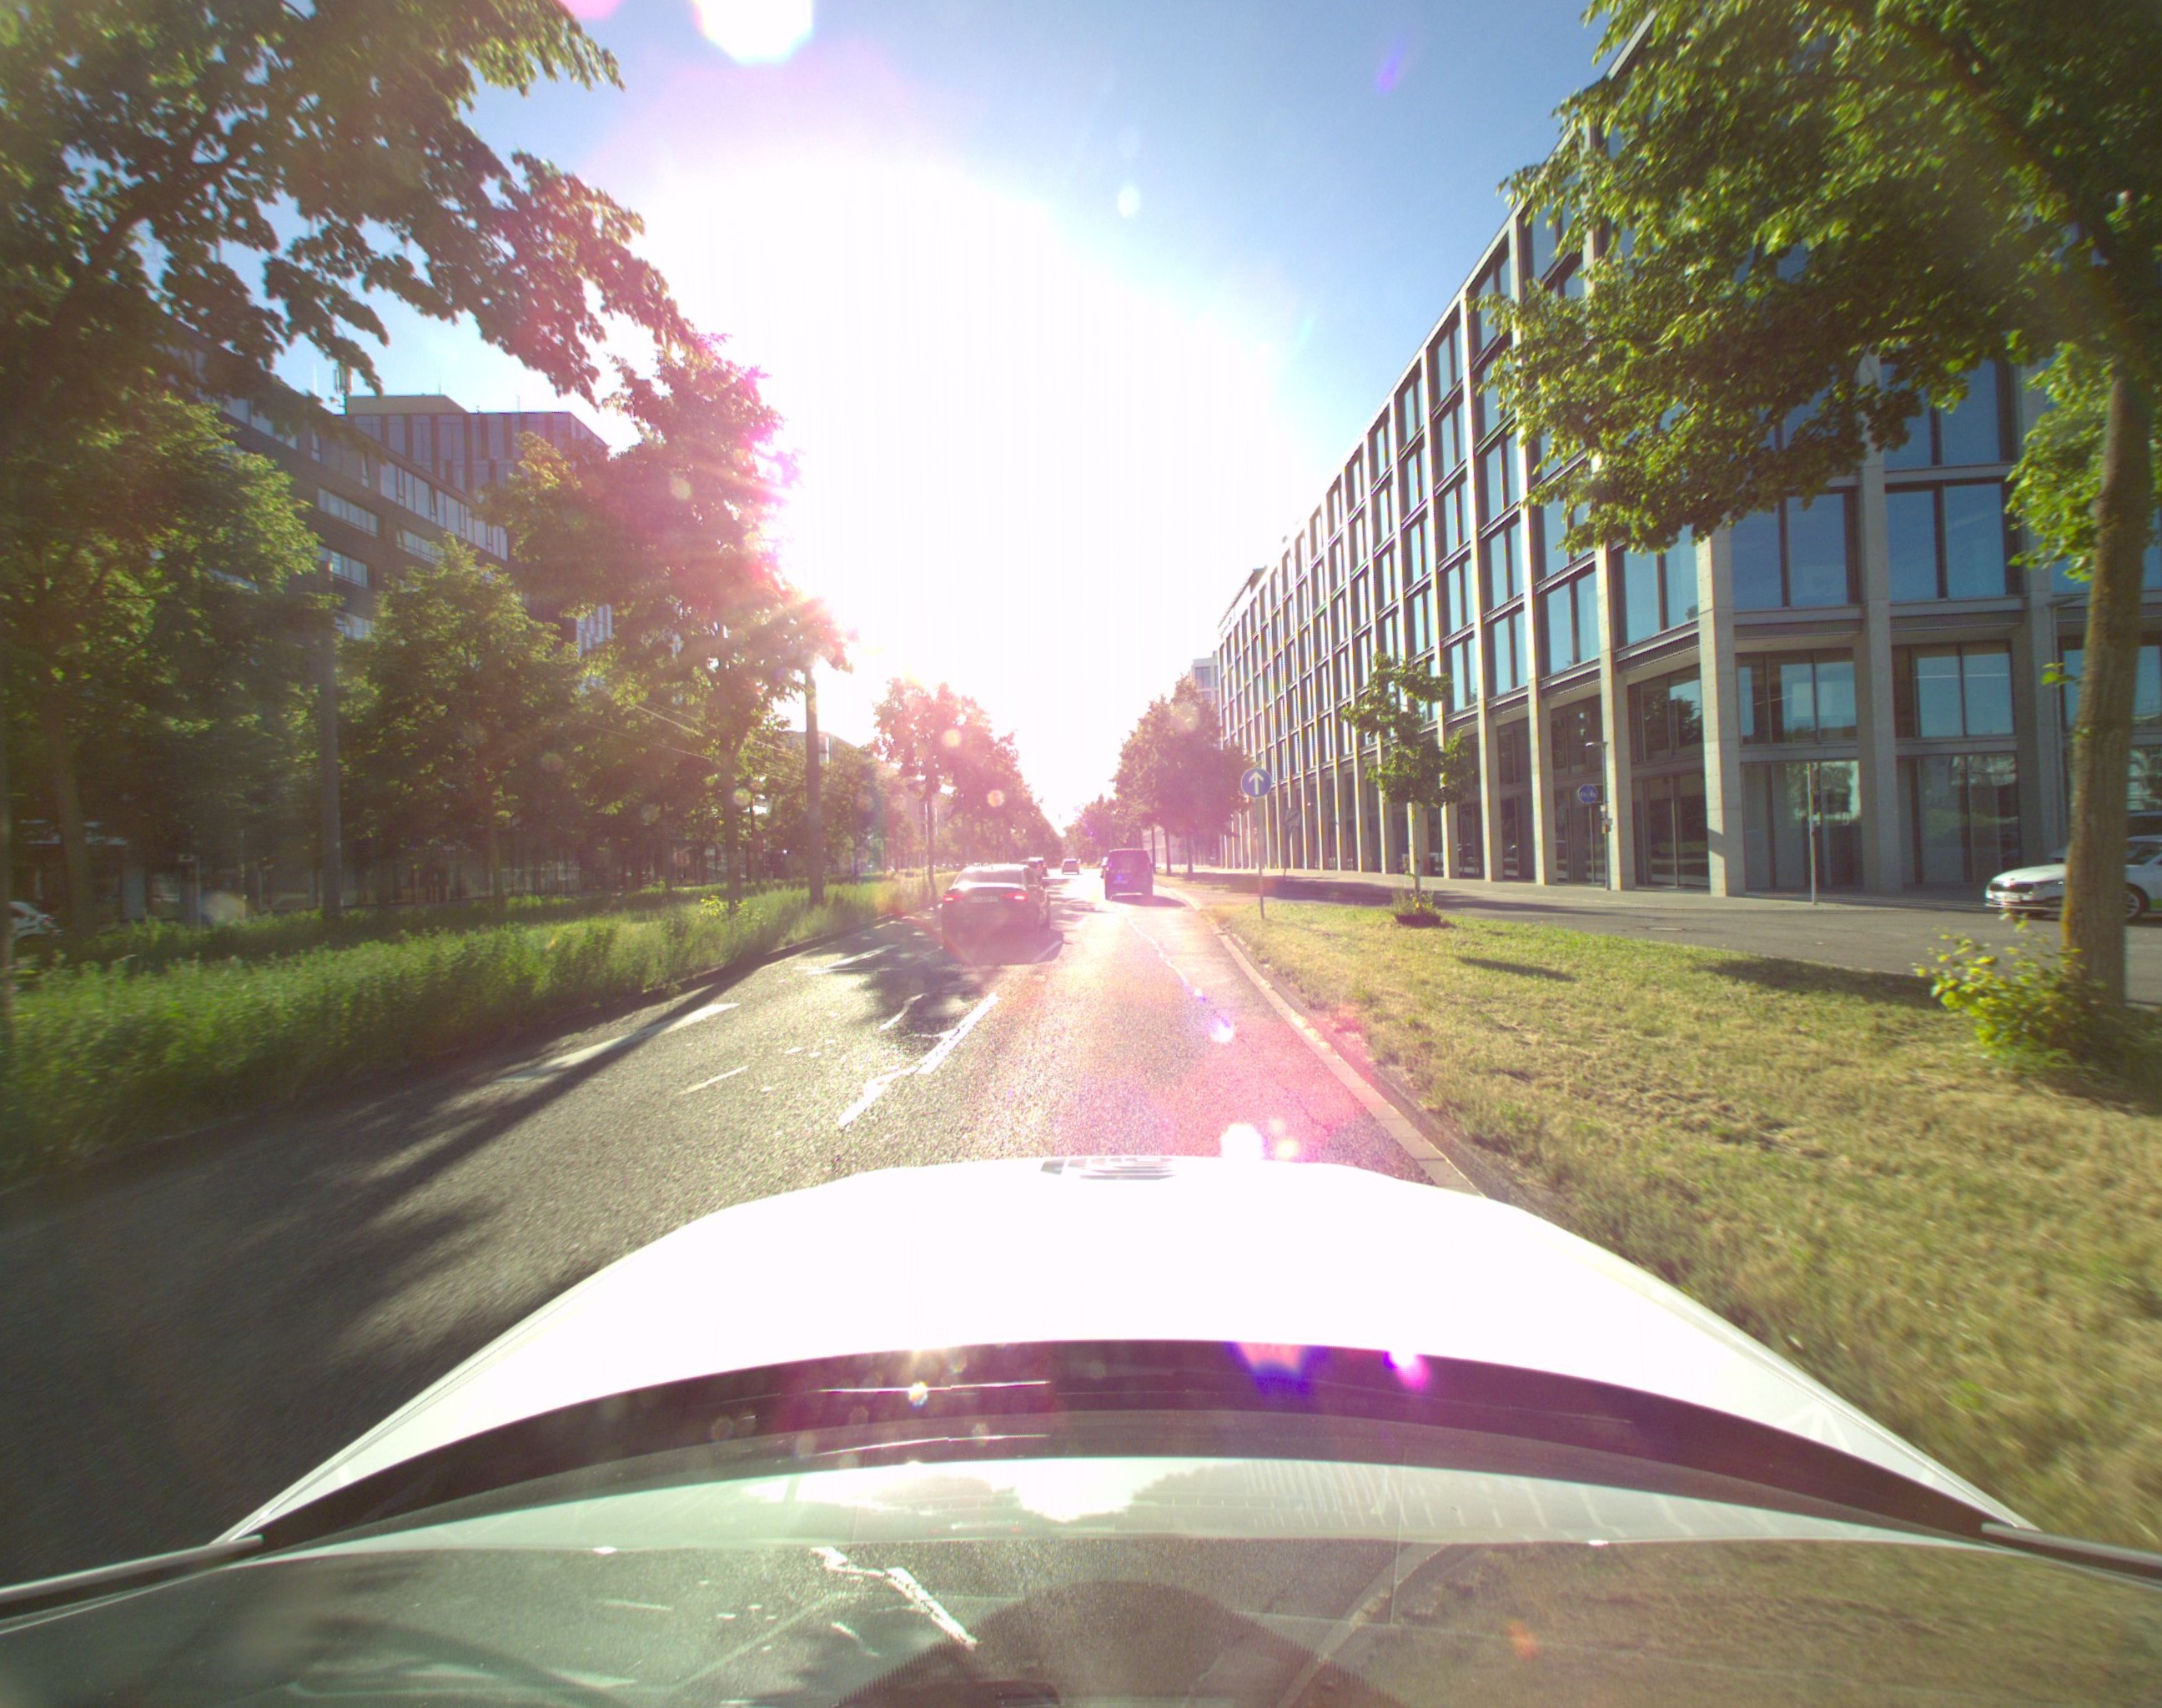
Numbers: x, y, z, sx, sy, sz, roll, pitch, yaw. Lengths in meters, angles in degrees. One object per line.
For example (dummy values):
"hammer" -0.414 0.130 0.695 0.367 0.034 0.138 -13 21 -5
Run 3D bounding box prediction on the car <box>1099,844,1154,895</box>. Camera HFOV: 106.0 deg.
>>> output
"car" 1.647 0.533 30.730 1.792 1.777 3.999 -1 1 -1

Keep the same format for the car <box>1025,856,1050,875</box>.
"car" -3.726 0.975 70.755 1.836 1.534 3.940 -2 0 1

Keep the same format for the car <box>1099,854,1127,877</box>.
"car" 2.240 0.760 57.413 1.716 1.425 3.814 0 2 -2

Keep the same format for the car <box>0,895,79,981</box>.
"car" -22.965 1.779 15.755 1.792 1.689 4.319 -1 1 -1

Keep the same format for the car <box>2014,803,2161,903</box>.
"car" 23.559 -0.087 17.252 5.043 1.982 1.941 -2 0 4

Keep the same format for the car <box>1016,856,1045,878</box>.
"car" -3.520 0.925 57.819 1.938 1.441 3.996 -2 0 -3

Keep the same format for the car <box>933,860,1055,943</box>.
"car" -1.555 0.835 16.002 1.714 1.366 4.149 -1 0 3

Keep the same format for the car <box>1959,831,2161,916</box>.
"car" 18.557 0.338 13.986 4.481 1.393 1.780 -1 -2 13

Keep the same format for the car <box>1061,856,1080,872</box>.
"car" -1.043 0.964 78.165 1.716 1.425 3.815 -2 0 -1
